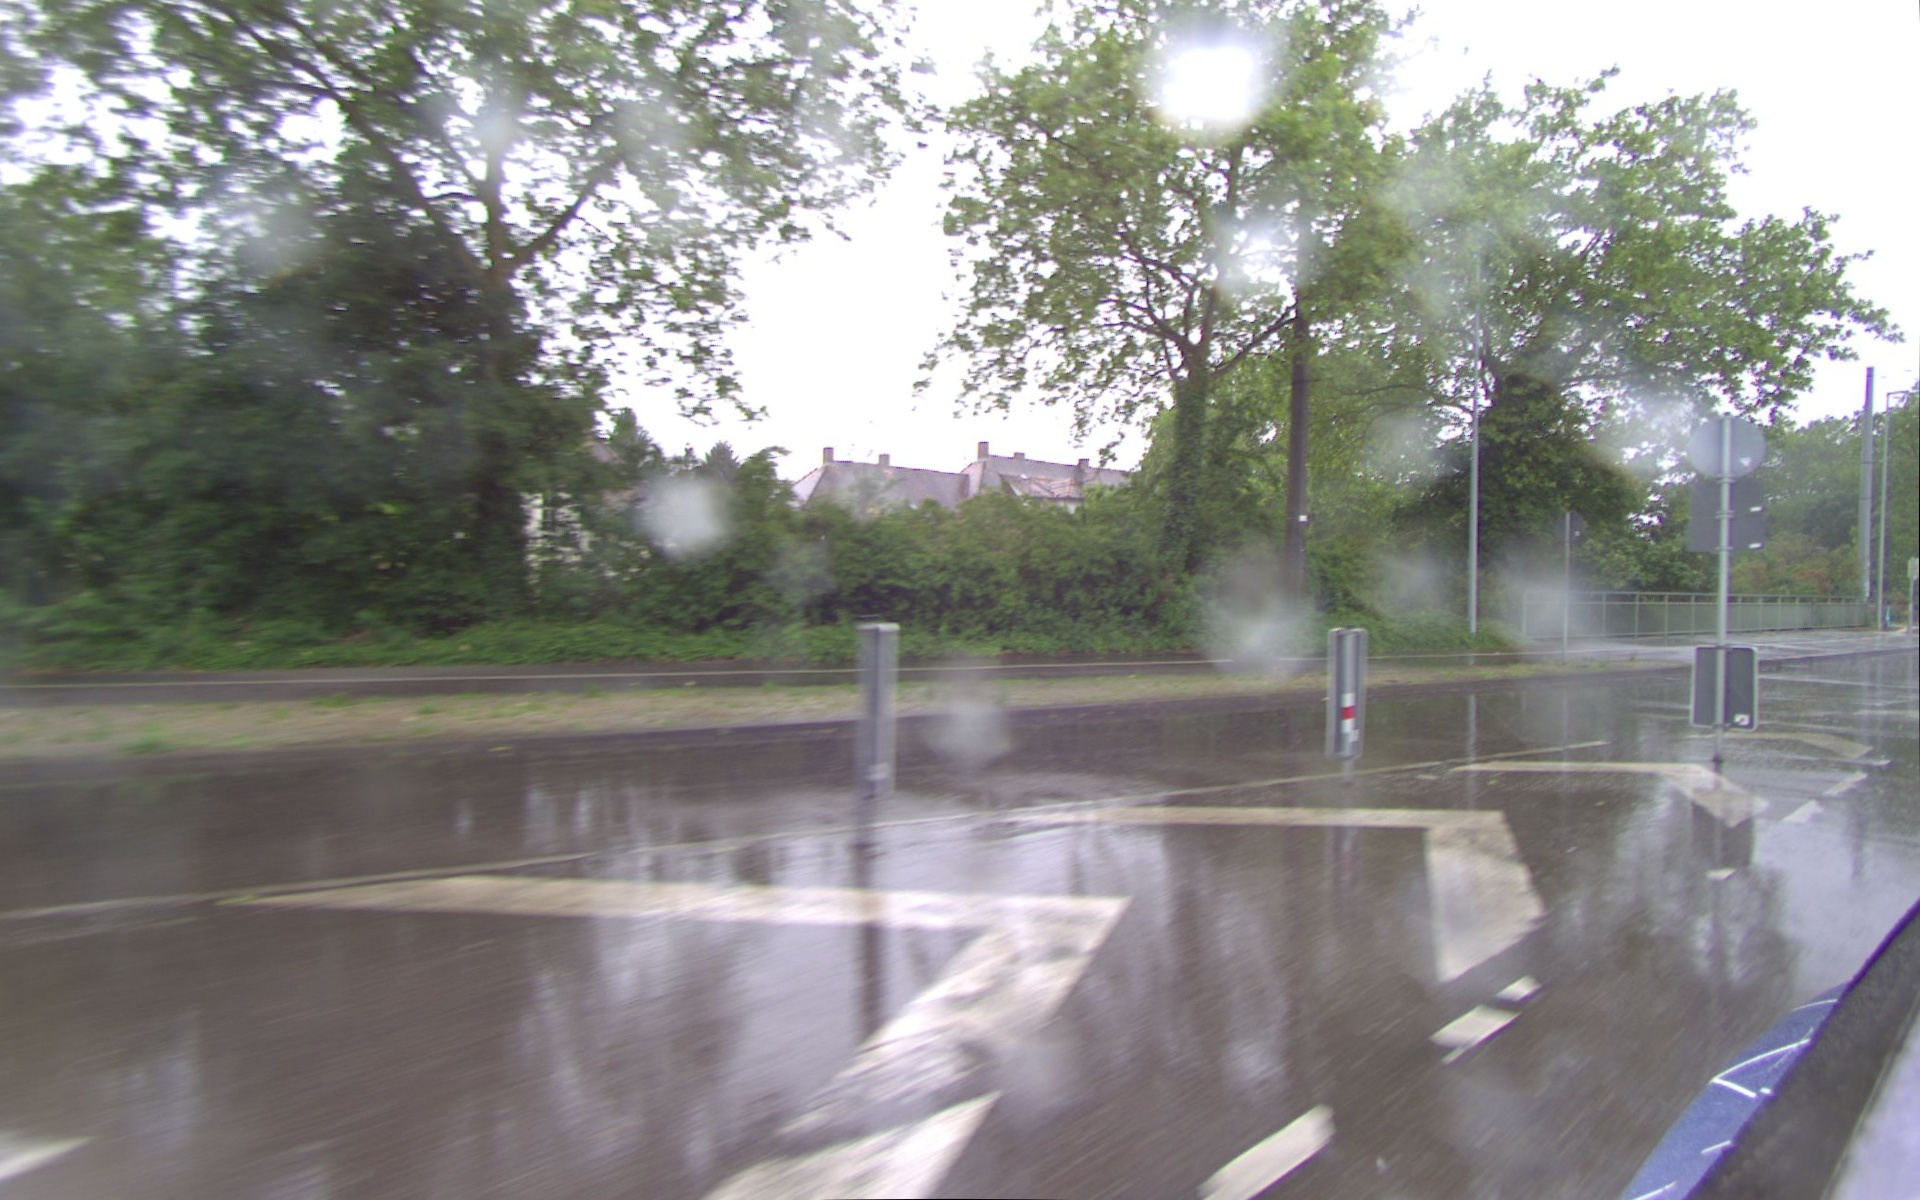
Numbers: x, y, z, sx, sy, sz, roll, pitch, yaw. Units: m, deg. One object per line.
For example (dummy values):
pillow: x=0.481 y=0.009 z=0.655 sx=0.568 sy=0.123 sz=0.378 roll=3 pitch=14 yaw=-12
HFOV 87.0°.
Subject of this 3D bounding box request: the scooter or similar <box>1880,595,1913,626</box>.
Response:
scooter or similar: x=41.044 y=0.465 z=44.361 sx=1.616 sy=1.309 sz=0.761 roll=0 pitch=1 yaw=-36
